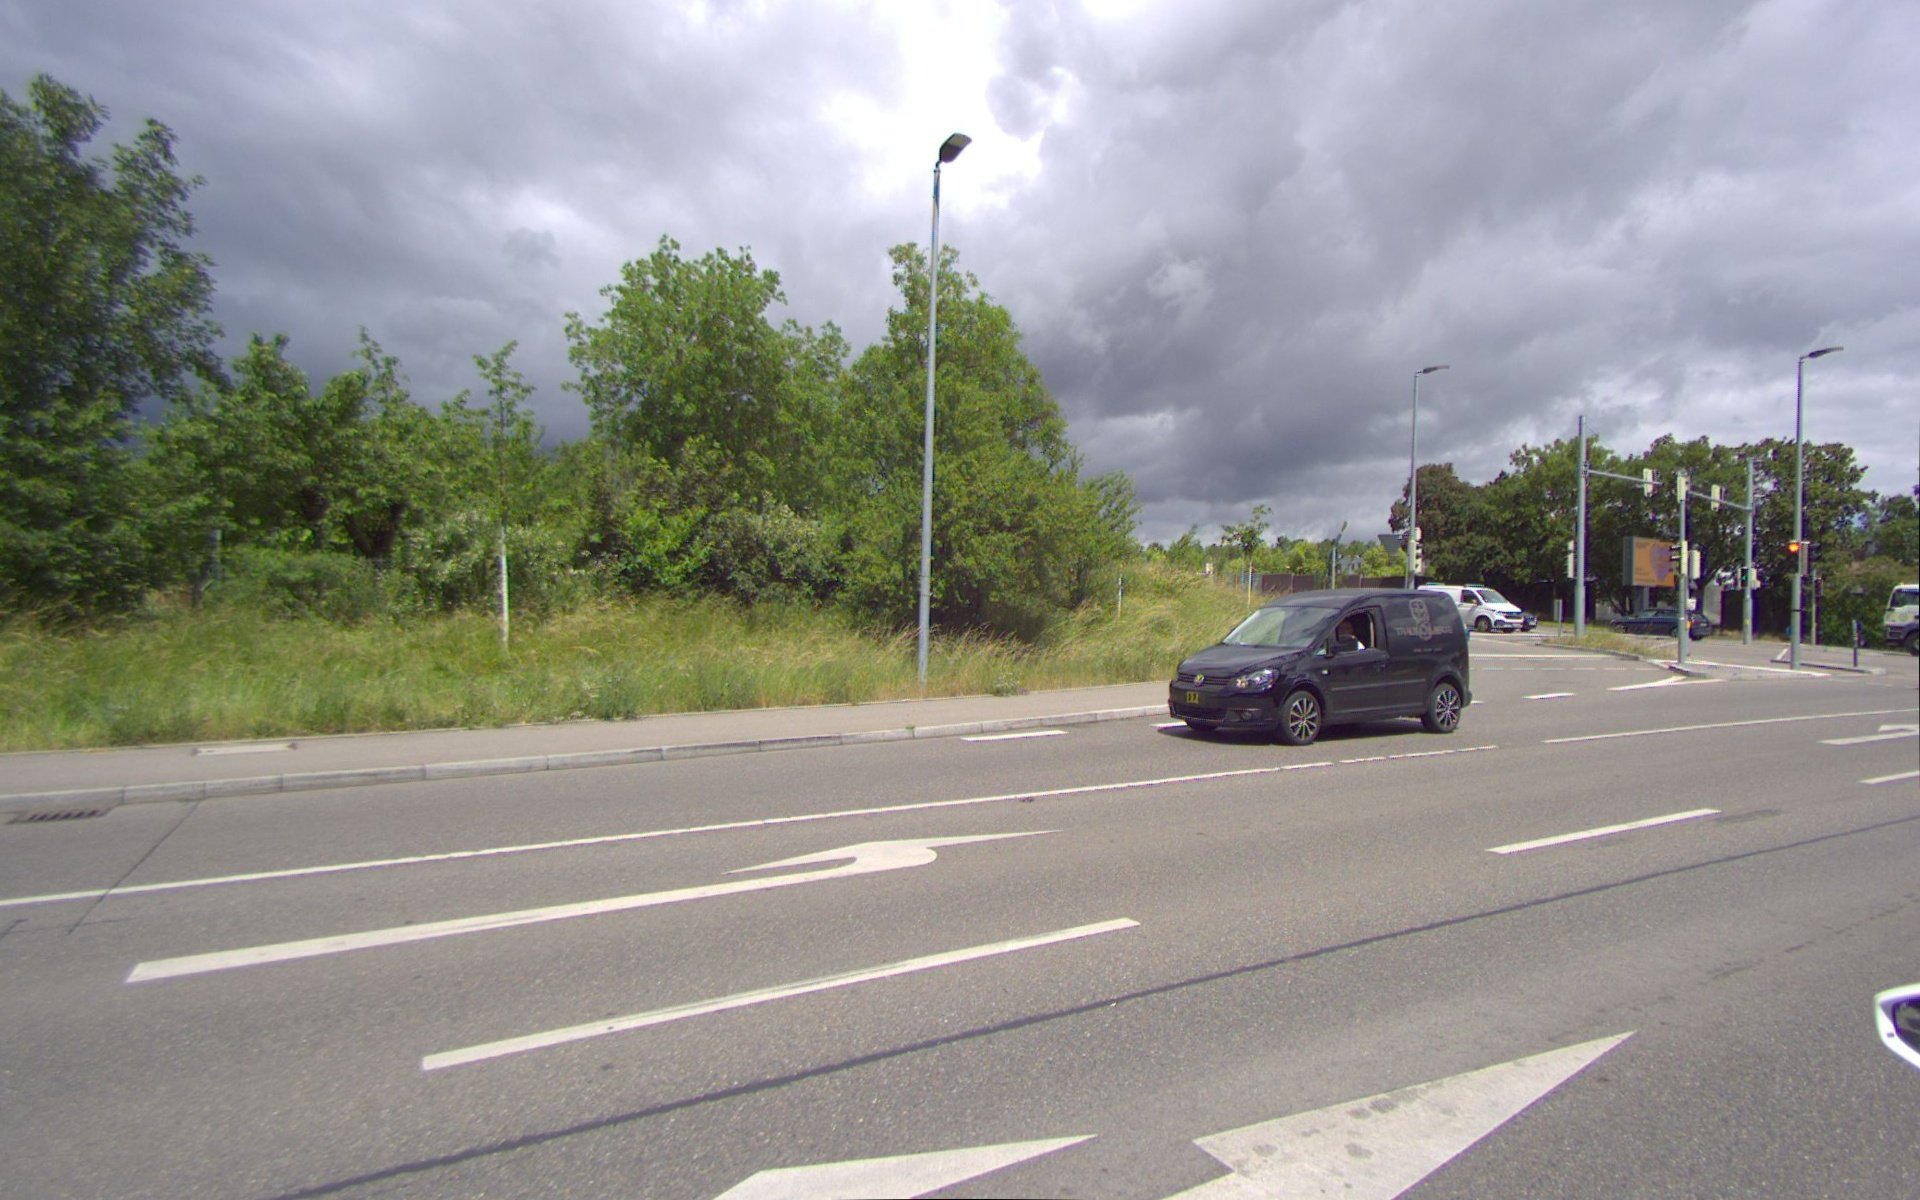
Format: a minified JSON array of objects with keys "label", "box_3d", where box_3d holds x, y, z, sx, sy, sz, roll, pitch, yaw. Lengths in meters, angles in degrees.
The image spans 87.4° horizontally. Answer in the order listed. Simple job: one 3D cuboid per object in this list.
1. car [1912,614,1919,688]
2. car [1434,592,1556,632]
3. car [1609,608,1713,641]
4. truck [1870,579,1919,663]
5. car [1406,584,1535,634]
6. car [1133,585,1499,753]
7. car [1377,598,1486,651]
[{"label":"car","box_3d":[22.940,1.162,21.718,4.101,1.599,1.782,1,1,-20]},{"label":"car","box_3d":[25.639,0.540,48.363,1.887,1.657,4.933,1,2,-29]},{"label":"car","box_3d":[35.100,1.202,50.401,1.674,1.419,3.973,2,1,-26]},{"label":"truck","box_3d":[43.212,0.870,42.118,2.810,3.625,6.922,2,-3,-26]},{"label":"car","box_3d":[22.907,0.352,45.253,1.887,1.963,4.933,1,2,-29]},{"label":"car","box_3d":[4.603,0.749,12.764,4.755,1.802,1.776,0,0,-31]},{"label":"car","box_3d":[17.363,0.853,37.266,1.873,1.659,4.447,2,2,0]}]
